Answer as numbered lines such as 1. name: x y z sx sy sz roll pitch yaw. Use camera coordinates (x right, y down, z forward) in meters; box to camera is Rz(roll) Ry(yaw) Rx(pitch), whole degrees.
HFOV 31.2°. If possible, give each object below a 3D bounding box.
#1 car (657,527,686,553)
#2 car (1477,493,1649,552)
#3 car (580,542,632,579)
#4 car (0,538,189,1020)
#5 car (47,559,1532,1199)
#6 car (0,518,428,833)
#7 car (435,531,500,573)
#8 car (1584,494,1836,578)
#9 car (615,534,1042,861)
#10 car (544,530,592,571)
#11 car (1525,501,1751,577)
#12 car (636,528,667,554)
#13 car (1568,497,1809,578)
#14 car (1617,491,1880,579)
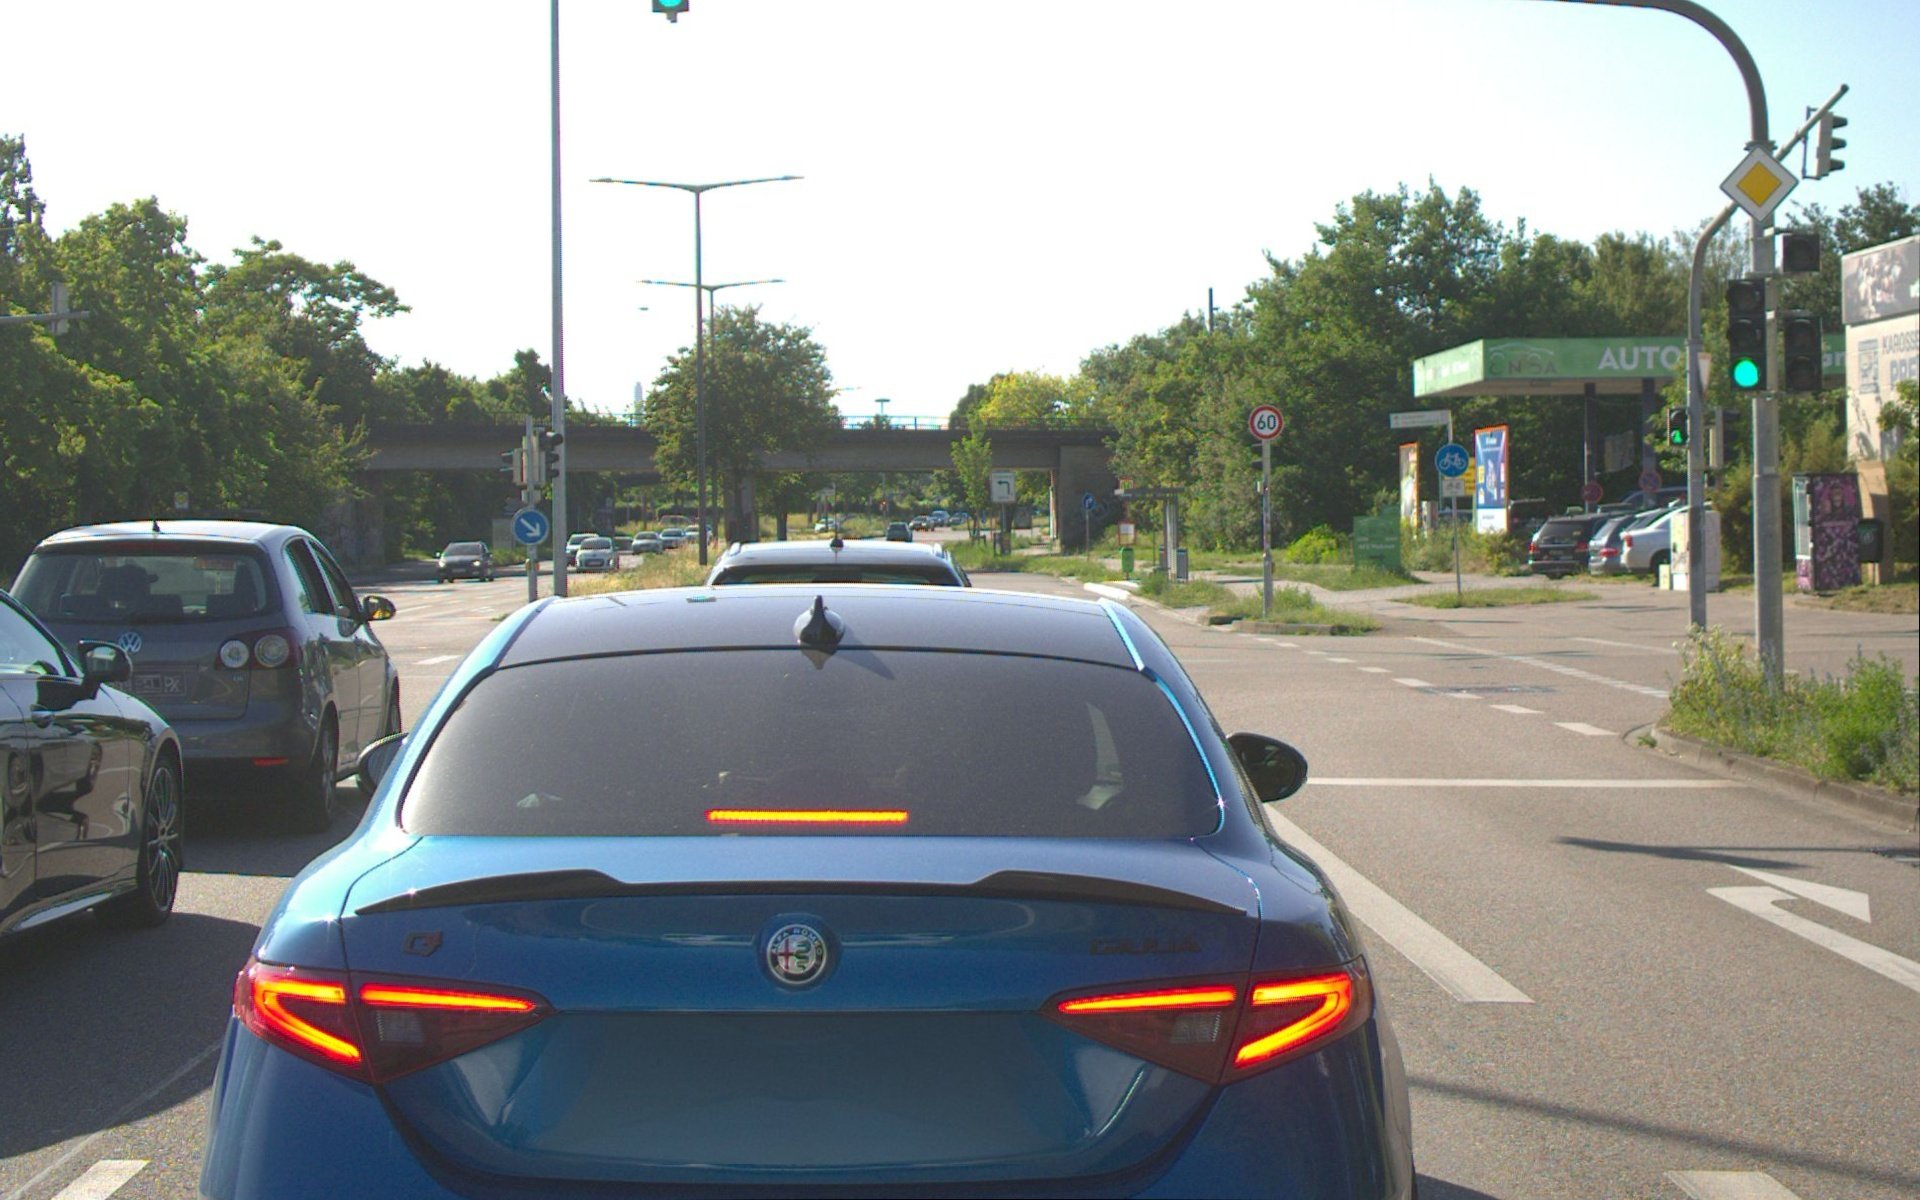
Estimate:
1. car: -19.052 -3.959 226.974 1.609 1.641 3.463 1 1 -1
2. car: 17.043 -2.194 97.316 4.551 1.485 1.765 -2 1 1
3. car: -14.804 -1.667 143.931 1.759 1.485 3.837 -2 1 0
4. car: -3.866 0.534 11.227 1.796 1.485 4.476 1 1 -2
5. car: -0.282 0.644 6.619 1.895 1.413 4.403 1 1 -2
6. car: -4.050 0.338 18.608 1.759 1.485 4.403 1 1 -2
7. car: -18.310 -1.794 127.994 1.759 1.485 4.478 -2 1 0
8. car: 14.658 -1.249 67.349 4.489 1.449 1.858 -2 1 1
9. car: -0.640 0.406 17.266 1.850 1.413 4.403 1 1 -2
10. car: -19.813 -2.480 173.767 1.993 2.007 4.000 1 1 -1
11. car: 14.595 -1.313 74.153 4.489 1.449 1.858 -2 1 1
12. car: -18.835 -3.620 209.955 1.615 1.554 3.358 1 1 -1
13. car: 14.814 -1.265 70.102 4.489 1.449 1.858 -2 1 1
14. car: 14.775 -1.211 64.570 4.489 1.449 1.858 -2 1 1
